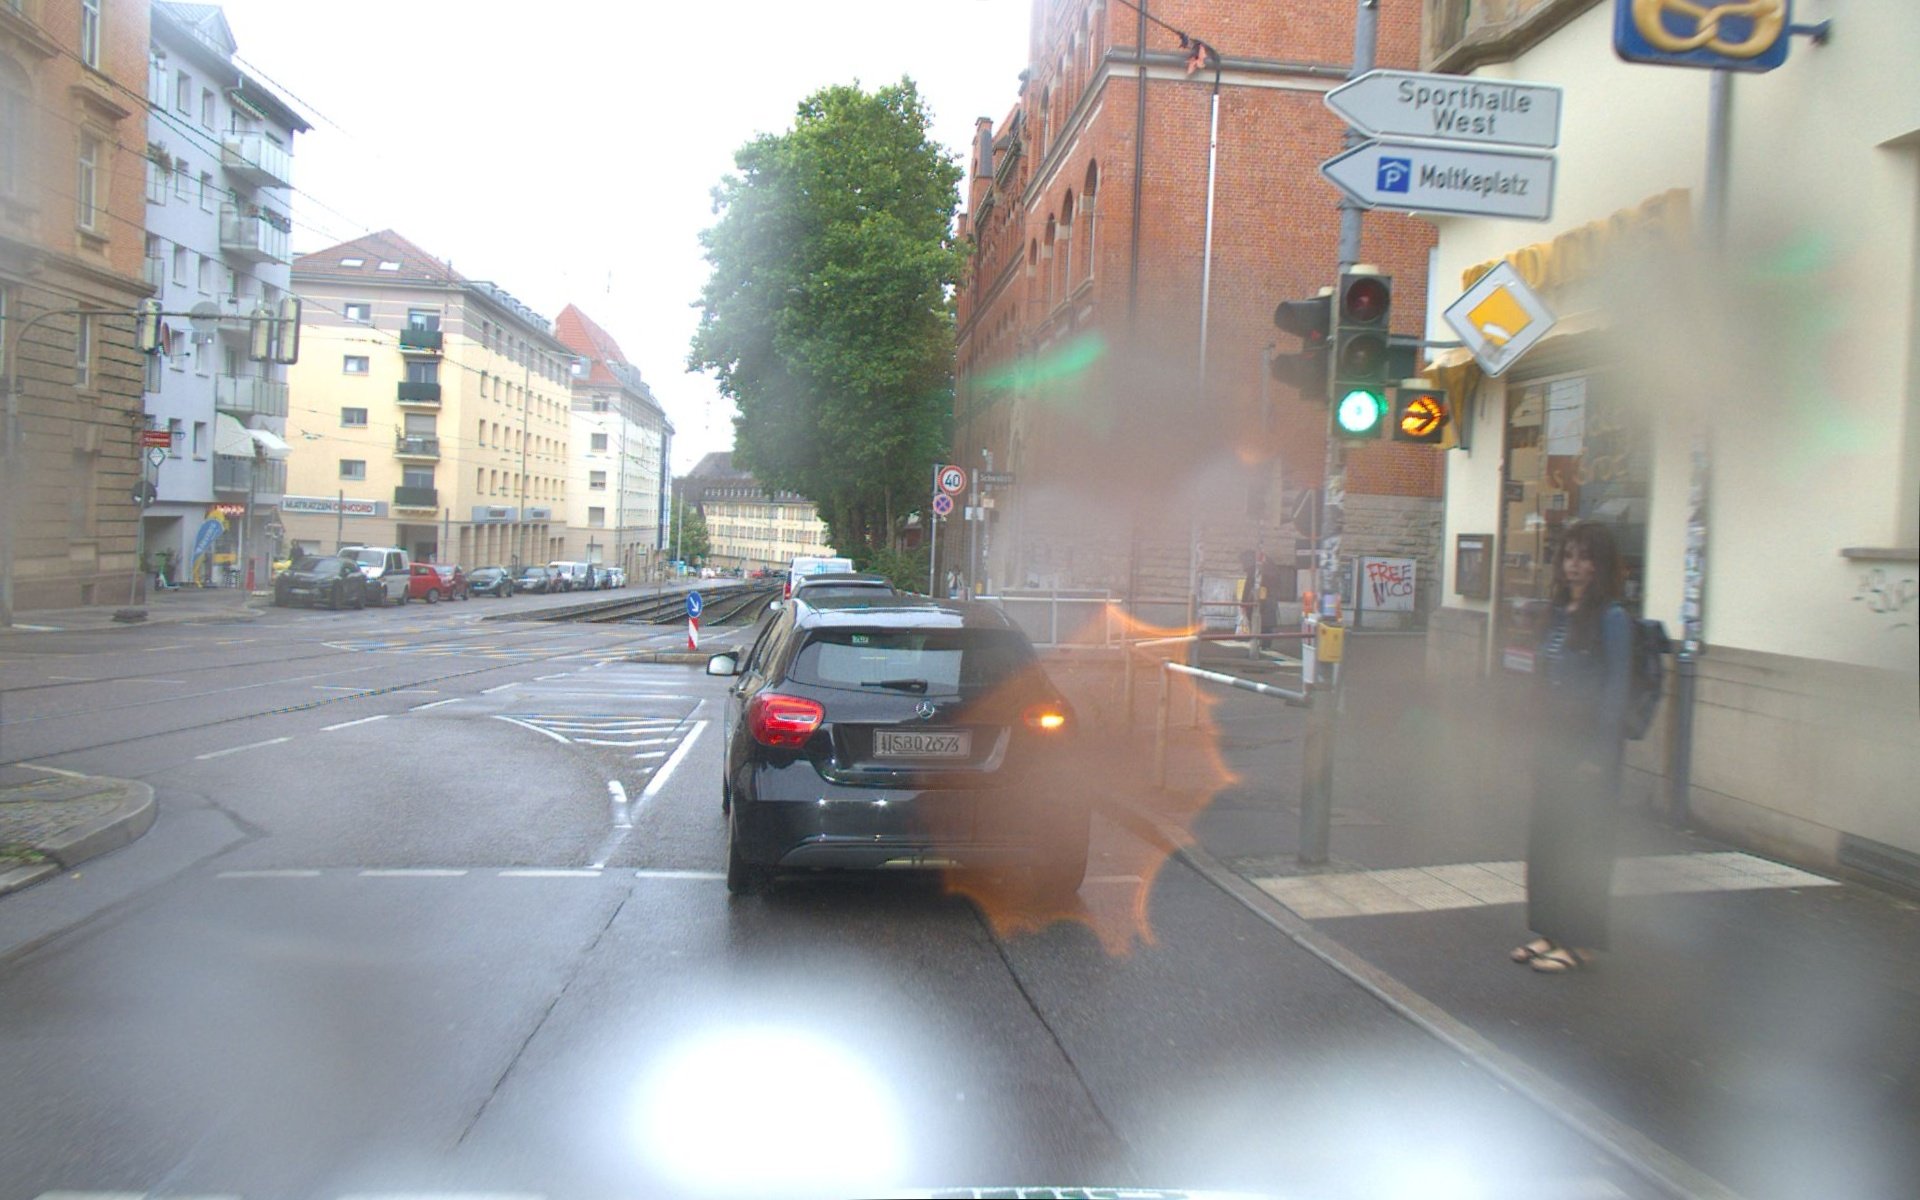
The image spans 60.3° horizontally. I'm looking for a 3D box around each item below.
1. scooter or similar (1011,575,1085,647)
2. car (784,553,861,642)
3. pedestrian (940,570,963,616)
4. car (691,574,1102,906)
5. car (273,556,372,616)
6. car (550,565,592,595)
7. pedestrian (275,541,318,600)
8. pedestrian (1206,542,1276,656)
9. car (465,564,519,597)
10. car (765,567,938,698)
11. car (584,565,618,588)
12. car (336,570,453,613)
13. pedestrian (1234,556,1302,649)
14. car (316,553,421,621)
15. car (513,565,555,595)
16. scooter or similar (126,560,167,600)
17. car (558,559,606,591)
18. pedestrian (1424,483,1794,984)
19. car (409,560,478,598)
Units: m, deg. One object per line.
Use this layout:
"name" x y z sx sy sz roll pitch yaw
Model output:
"scooter or similar" 1.600 0.196 30.088 1.220 1.272 0.638 1 0 16
"car" -3.454 -0.073 41.106 1.707 2.049 3.898 2 0 -7
"pedestrian" -0.325 -0.268 62.114 0.806 1.708 0.859 2 0 -3
"car" -0.475 0.613 9.317 1.760 1.399 3.995 3 0 -6
"car" -19.626 -0.437 51.095 1.699 1.679 4.359 2 0 -6
"car" -23.949 -1.206 101.878 1.830 1.747 4.456 2 0 -5
"pedestrian" -22.893 -1.018 57.083 1.151 1.962 1.174 2 0 -13
"pedestrian" 4.842 -0.024 28.579 0.939 1.920 1.072 0 1 -6
"car" -21.763 -0.911 77.039 1.647 1.420 4.616 2 0 -6
"car" -1.538 0.373 21.913 1.897 1.478 4.309 3 0 -8
"car" -25.422 -1.661 117.272 1.778 1.525 4.578 3 1 -5
"car" -21.084 -0.306 61.840 1.746 1.459 3.976 3 0 28
"pedestrian" 5.533 0.039 29.802 0.939 1.653 1.072 0 1 -6
"car" -20.346 -0.479 57.142 2.030 2.043 5.296 5 1 -5
"car" -23.163 -1.107 90.094 1.818 1.534 4.979 2 0 -10
"scooter or similar" -25.199 -0.619 51.263 1.071 1.230 0.315 -2 1 -16
"car" -24.654 -1.638 108.025 1.953 1.938 5.458 3 1 -2
"pedestrian" 2.441 0.465 6.340 0.997 1.750 0.929 -1 0 -4
"car" -21.150 -0.860 67.877 1.620 1.477 4.072 2 0 -2
